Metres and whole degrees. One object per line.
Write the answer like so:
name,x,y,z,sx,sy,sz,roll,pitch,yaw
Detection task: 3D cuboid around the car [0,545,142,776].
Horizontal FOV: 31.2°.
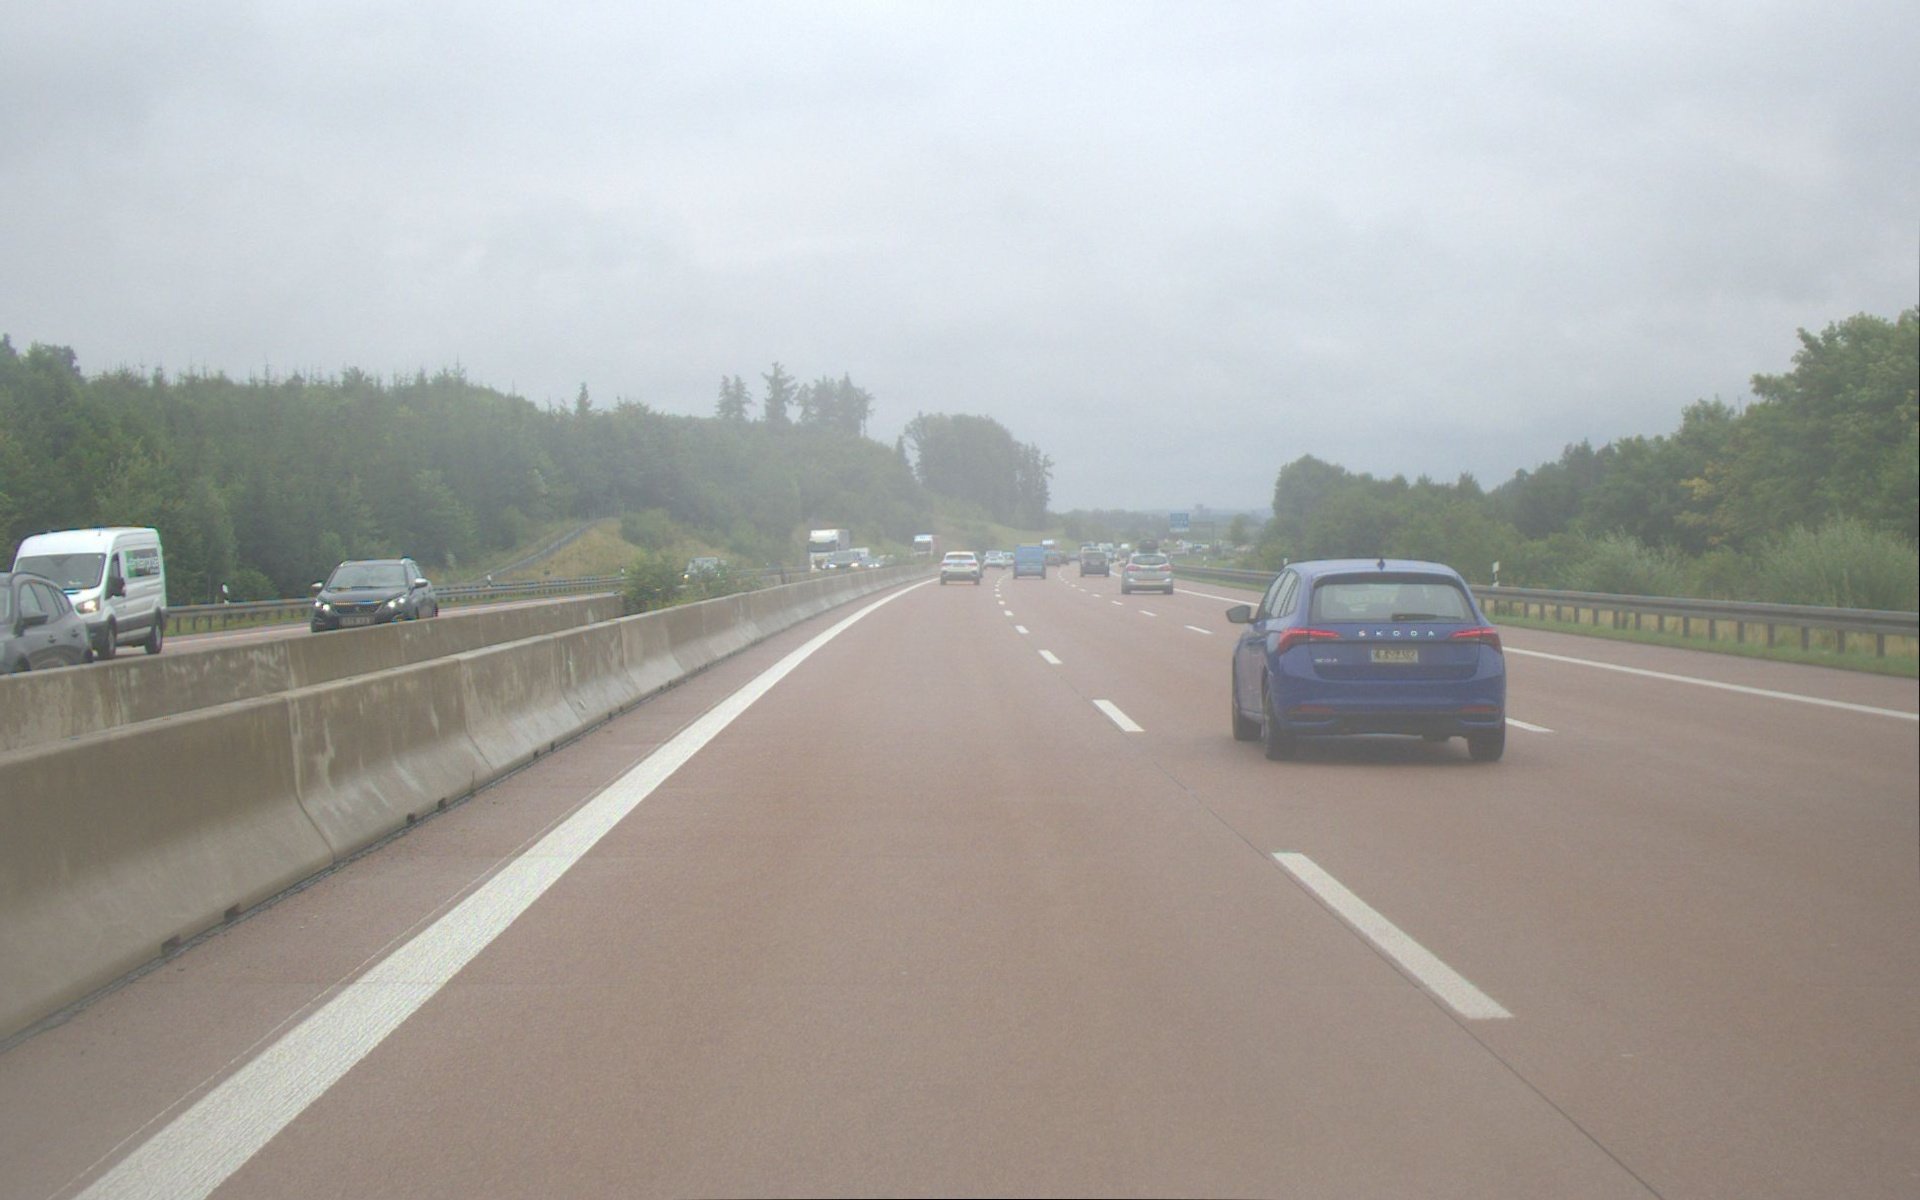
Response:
car,-9.327,0.524,32.512,1.993,2.007,5.526,1,0,-2

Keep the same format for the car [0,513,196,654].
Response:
car,-16.654,-0.293,66.650,2.224,2.576,6.254,1,0,0

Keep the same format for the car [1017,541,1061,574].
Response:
car,4.489,-2.424,196.156,2.322,1.744,4.877,1,0,-1

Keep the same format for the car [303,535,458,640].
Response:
car,-10.496,-0.257,62.593,1.993,1.820,4.687,-1,1,0

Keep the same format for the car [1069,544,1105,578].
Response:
car,7.867,-2.416,213.580,1.993,2.007,4.000,1,0,-1

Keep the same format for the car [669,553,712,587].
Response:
car,-13.033,-1.447,166.501,1.716,1.577,4.316,-1,0,0

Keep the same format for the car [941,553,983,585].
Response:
car,0.081,-1.439,160.424,1.874,1.439,4.877,1,0,0

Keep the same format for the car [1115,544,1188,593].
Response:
car,7.062,-1.145,127.192,2.322,1.744,4.877,1,0,-1

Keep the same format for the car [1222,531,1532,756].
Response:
car,3.079,0.315,26.145,1.771,1.559,4.146,1,0,-1
